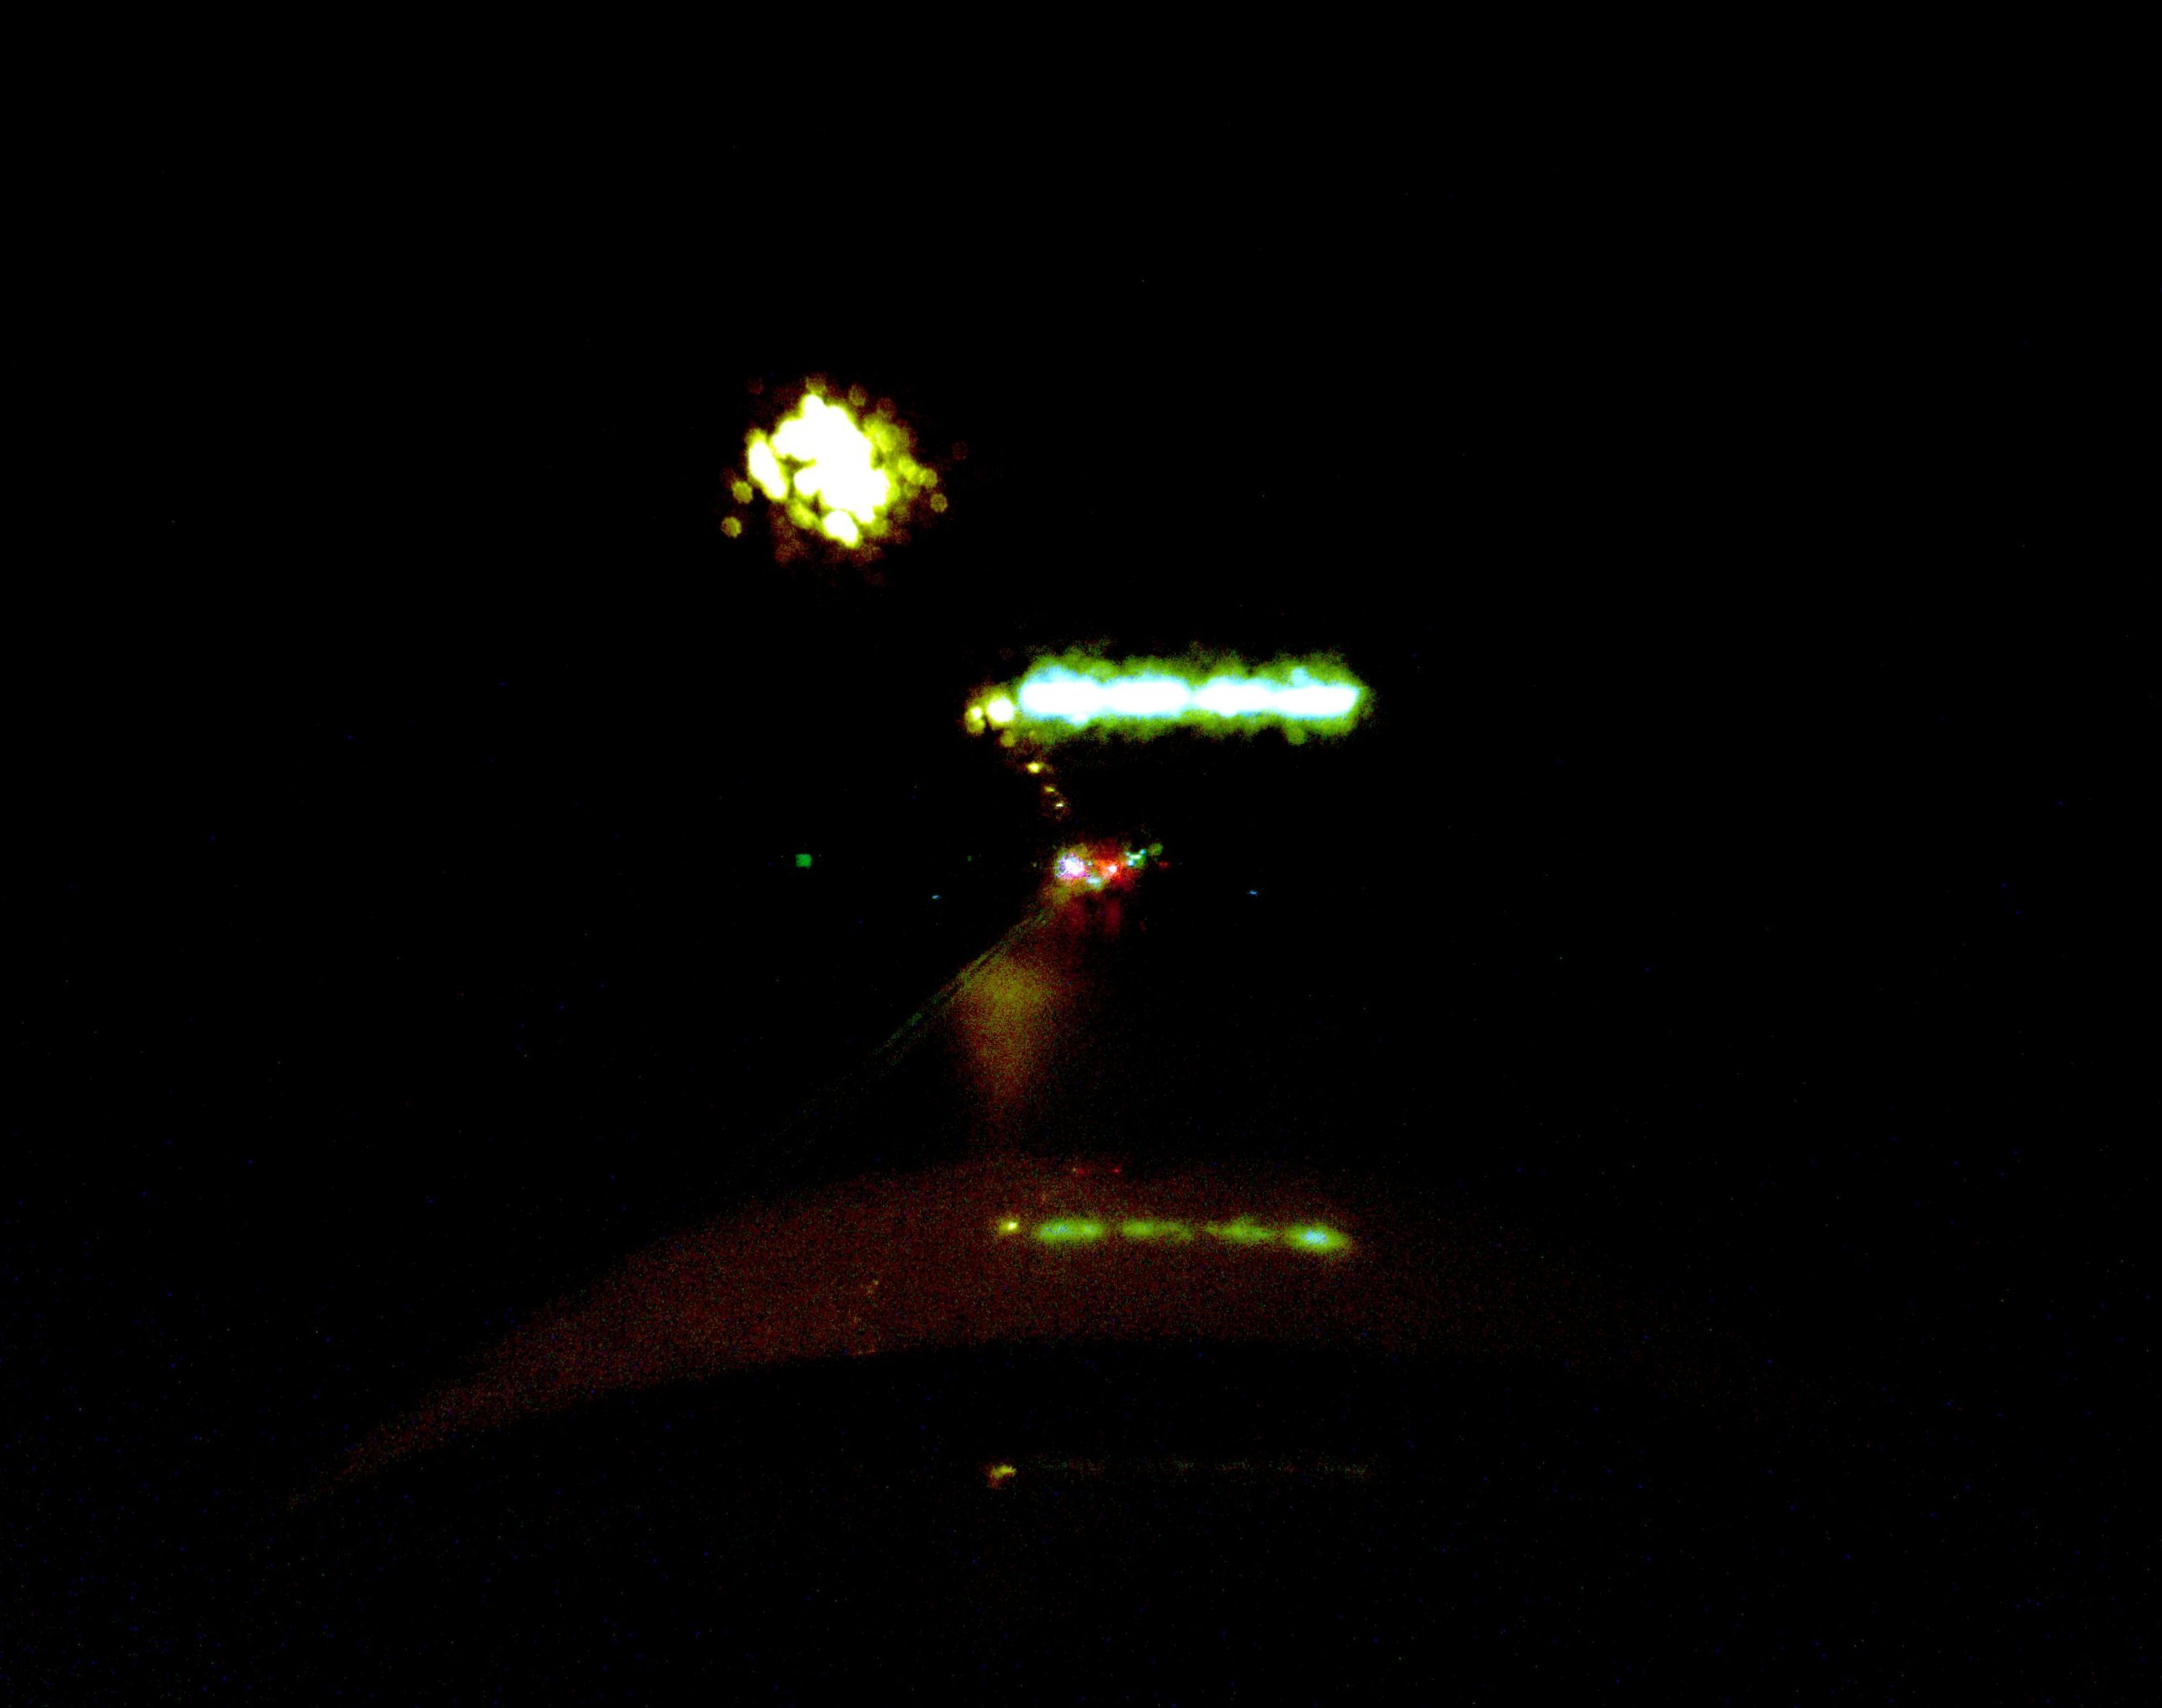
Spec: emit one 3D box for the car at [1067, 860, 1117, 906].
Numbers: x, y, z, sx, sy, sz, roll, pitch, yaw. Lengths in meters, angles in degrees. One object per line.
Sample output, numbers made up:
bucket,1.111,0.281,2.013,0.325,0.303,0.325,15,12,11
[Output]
car,0.471,1.068,31.178,1.802,1.622,4.002,0,-1,2
